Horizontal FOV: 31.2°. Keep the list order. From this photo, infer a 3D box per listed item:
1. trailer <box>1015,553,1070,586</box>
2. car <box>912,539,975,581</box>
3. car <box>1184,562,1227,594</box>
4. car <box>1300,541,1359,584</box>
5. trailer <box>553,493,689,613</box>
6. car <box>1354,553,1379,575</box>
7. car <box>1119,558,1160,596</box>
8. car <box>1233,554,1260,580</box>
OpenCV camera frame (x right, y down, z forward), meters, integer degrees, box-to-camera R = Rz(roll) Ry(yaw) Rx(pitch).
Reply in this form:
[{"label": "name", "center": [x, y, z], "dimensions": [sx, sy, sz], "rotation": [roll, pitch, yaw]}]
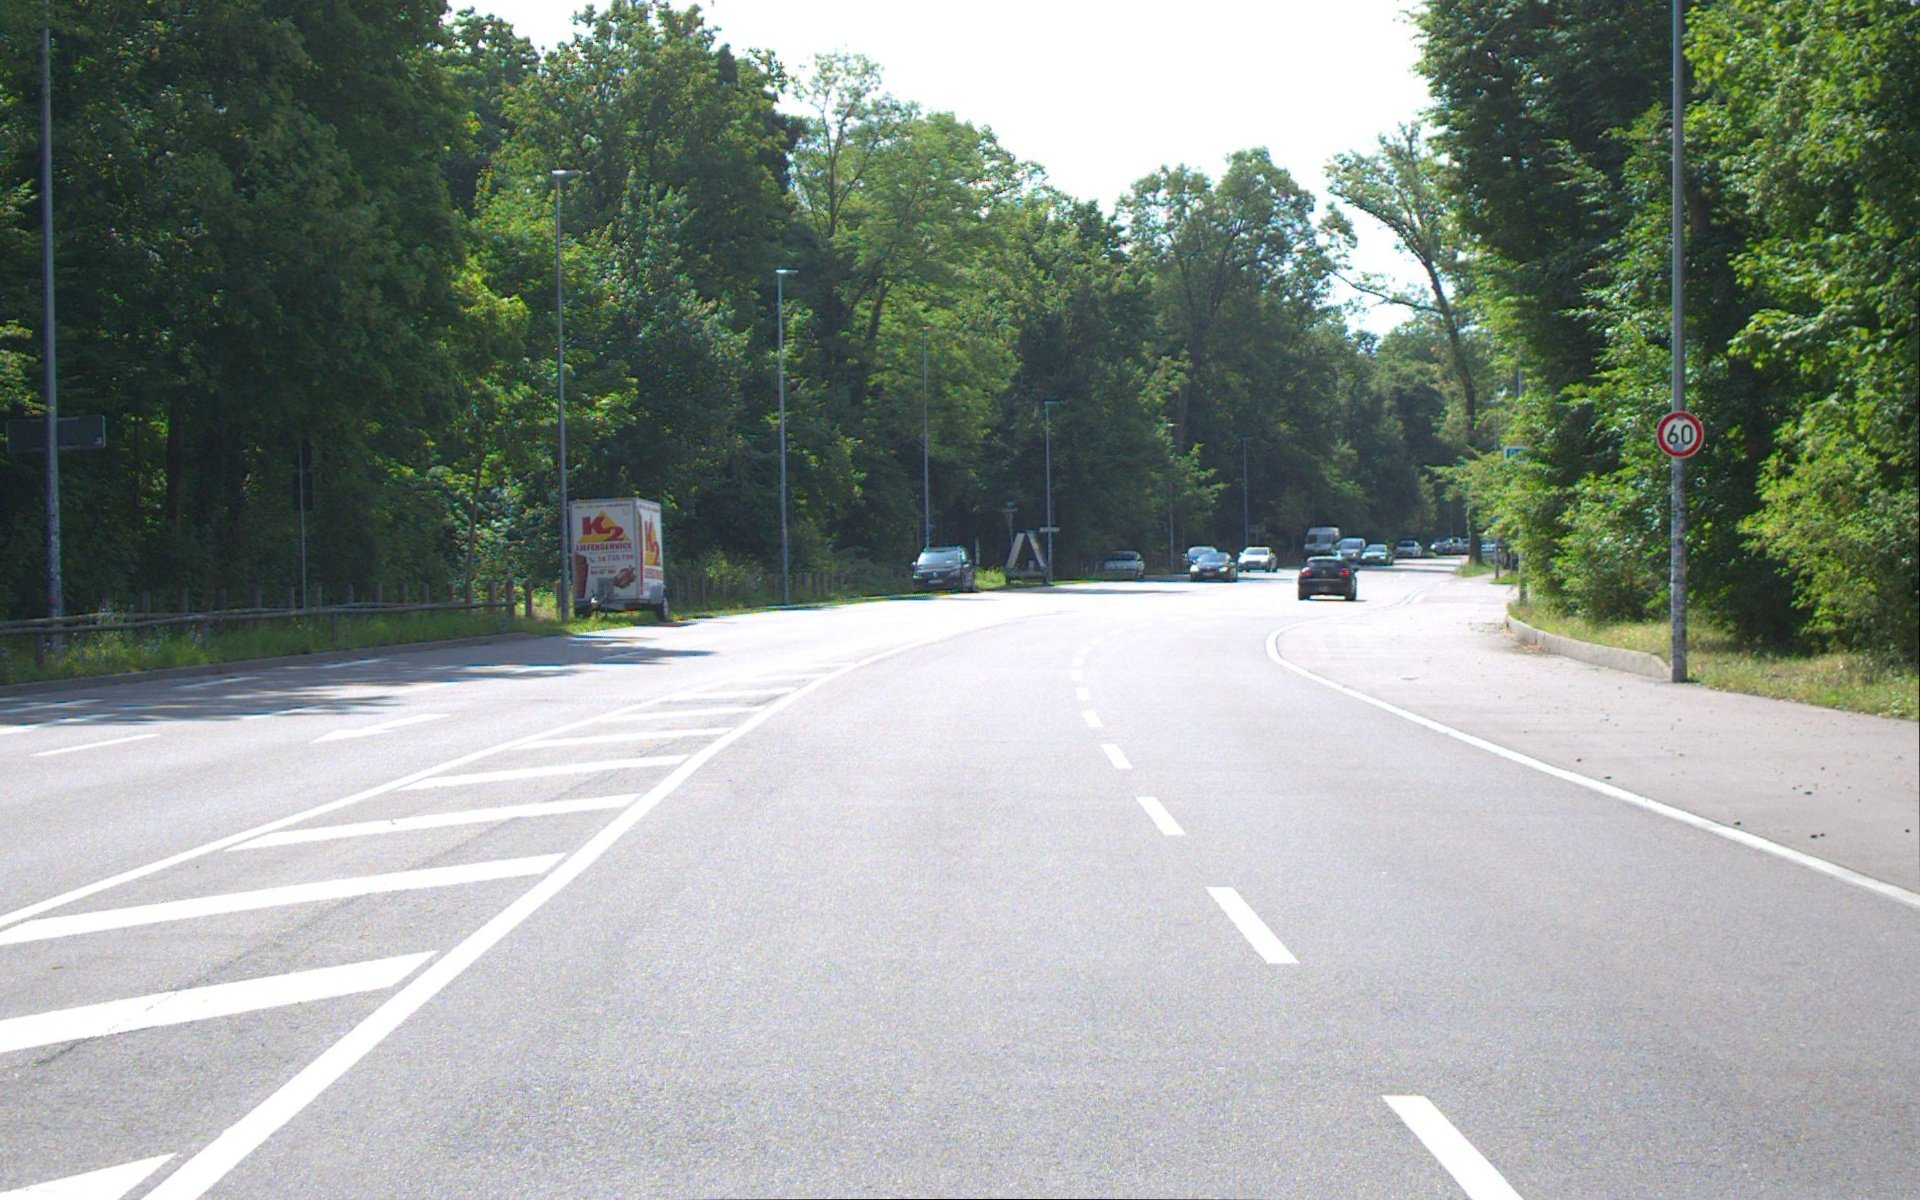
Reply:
[{"label": "trailer", "center": [3.418, -1.248, 141.275], "dimensions": [1.717, 1.350, 3.731], "rotation": [0, 1, 10]}, {"label": "car", "center": [-0.556, -1.376, 118.898], "dimensions": [1.504, 1.441, 3.527], "rotation": [0, 1, 12]}, {"label": "car", "center": [11.293, -1.033, 157.846], "dimensions": [1.504, 1.441, 3.527], "rotation": [0, 1, 11]}, {"label": "car", "center": [12.052, -1.222, 111.900], "dimensions": [1.598, 1.373, 3.974], "rotation": [0, 1, 11]}, {"label": "trailer", "center": [-6.905, -0.964, 70.386], "dimensions": [1.994, 2.380, 3.999], "rotation": [0, 1, 6]}, {"label": "car", "center": [27.164, -2.400, 229.921], "dimensions": [1.504, 1.441, 3.528], "rotation": [0, 1, 9]}, {"label": "car", "center": [8.848, -1.160, 169.184], "dimensions": [1.922, 1.848, 4.000], "rotation": [0, 1, 4]}, {"label": "car", "center": [16.316, -1.899, 195.914], "dimensions": [1.503, 1.441, 3.529], "rotation": [0, 1, 5]}]
